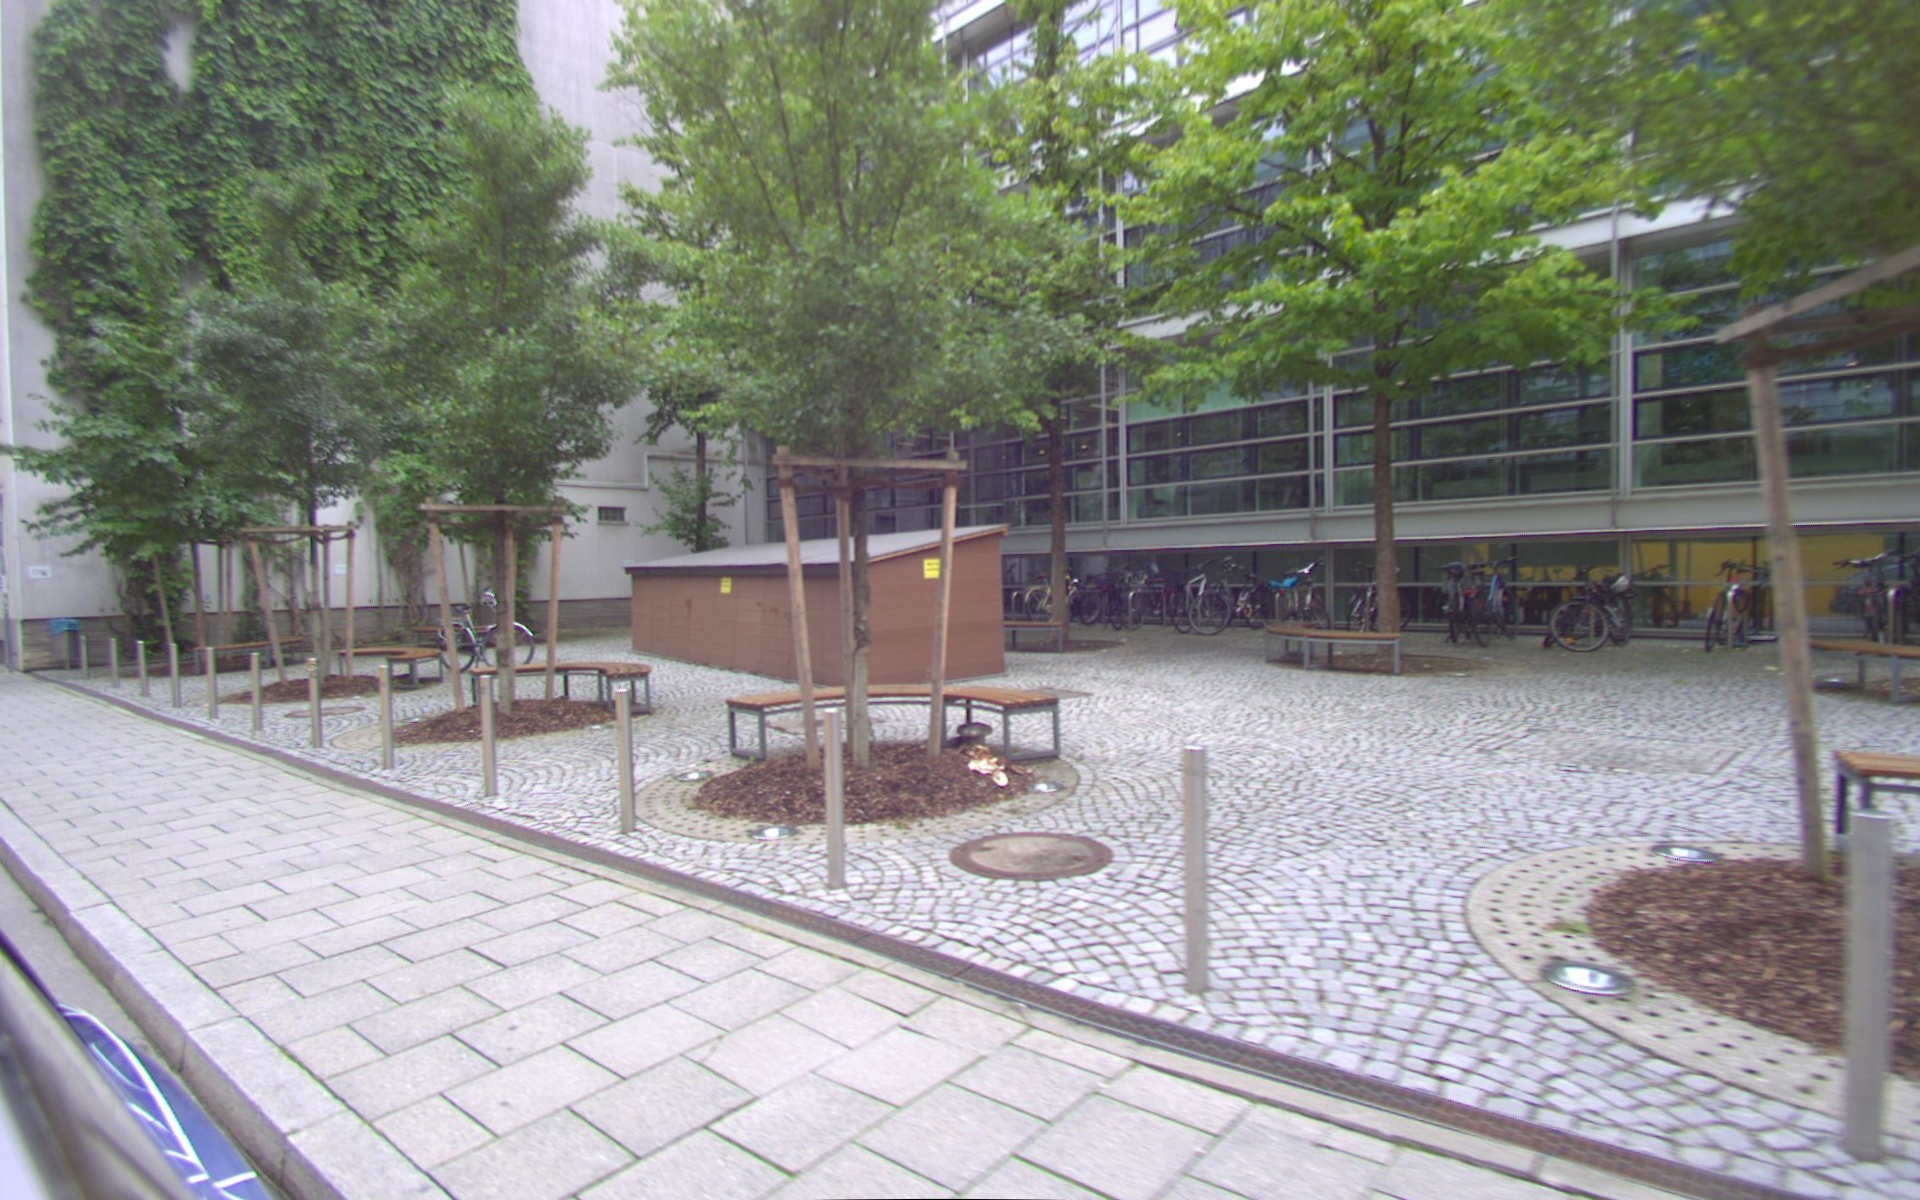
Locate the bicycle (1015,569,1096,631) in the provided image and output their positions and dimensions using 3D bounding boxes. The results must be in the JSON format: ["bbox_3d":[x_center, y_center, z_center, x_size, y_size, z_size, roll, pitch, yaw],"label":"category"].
[{"bbox_3d":[1.770,-0.010,18.608,0.629,1.068,1.554,0,2,44],"label":"bicycle"}]

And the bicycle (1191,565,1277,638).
[{"bbox_3d":[4.327,0.011,15.946,0.629,1.068,1.554,0,2,44],"label":"bicycle"}]

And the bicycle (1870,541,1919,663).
[{"bbox_3d":[9.760,-0.020,10.175,0.827,1.134,1.876,0,3,44],"label":"bicycle"}]

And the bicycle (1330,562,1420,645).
[{"bbox_3d":[5.825,0.027,14.176,0.629,1.068,1.554,0,2,44],"label":"bicycle"}]

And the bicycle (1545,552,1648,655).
[{"bbox_3d":[7.686,0.010,12.181,0.666,1.114,1.876,0,3,44],"label":"bicycle"}]

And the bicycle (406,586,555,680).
[{"bbox_3d":[-6.741,0.450,14.216,1.985,1.217,0.708,-1,3,23],"label":"bicycle"}]

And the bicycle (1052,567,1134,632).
[{"bbox_3d":[2.385,-0.027,18.006,0.629,1.068,1.554,0,2,44],"label":"bicycle"}]

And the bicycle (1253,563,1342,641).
[{"bbox_3d":[5.038,0.008,15.059,0.629,1.068,1.554,0,2,44],"label":"bicycle"}]

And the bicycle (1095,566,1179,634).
[{"bbox_3d":[3.009,-0.013,17.153,0.629,1.068,1.554,0,2,44],"label":"bicycle"}]

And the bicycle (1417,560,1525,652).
[{"bbox_3d":[6.653,0.046,13.132,0.705,1.066,1.876,0,3,44],"label":"bicycle"}]

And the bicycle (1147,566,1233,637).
[{"bbox_3d":[3.748,0.008,16.438,0.629,1.068,1.554,0,2,44],"label":"bicycle"}]

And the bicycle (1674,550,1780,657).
[{"bbox_3d":[8.603,0.004,11.322,0.708,1.083,1.876,0,3,44],"label":"bicycle"}]
